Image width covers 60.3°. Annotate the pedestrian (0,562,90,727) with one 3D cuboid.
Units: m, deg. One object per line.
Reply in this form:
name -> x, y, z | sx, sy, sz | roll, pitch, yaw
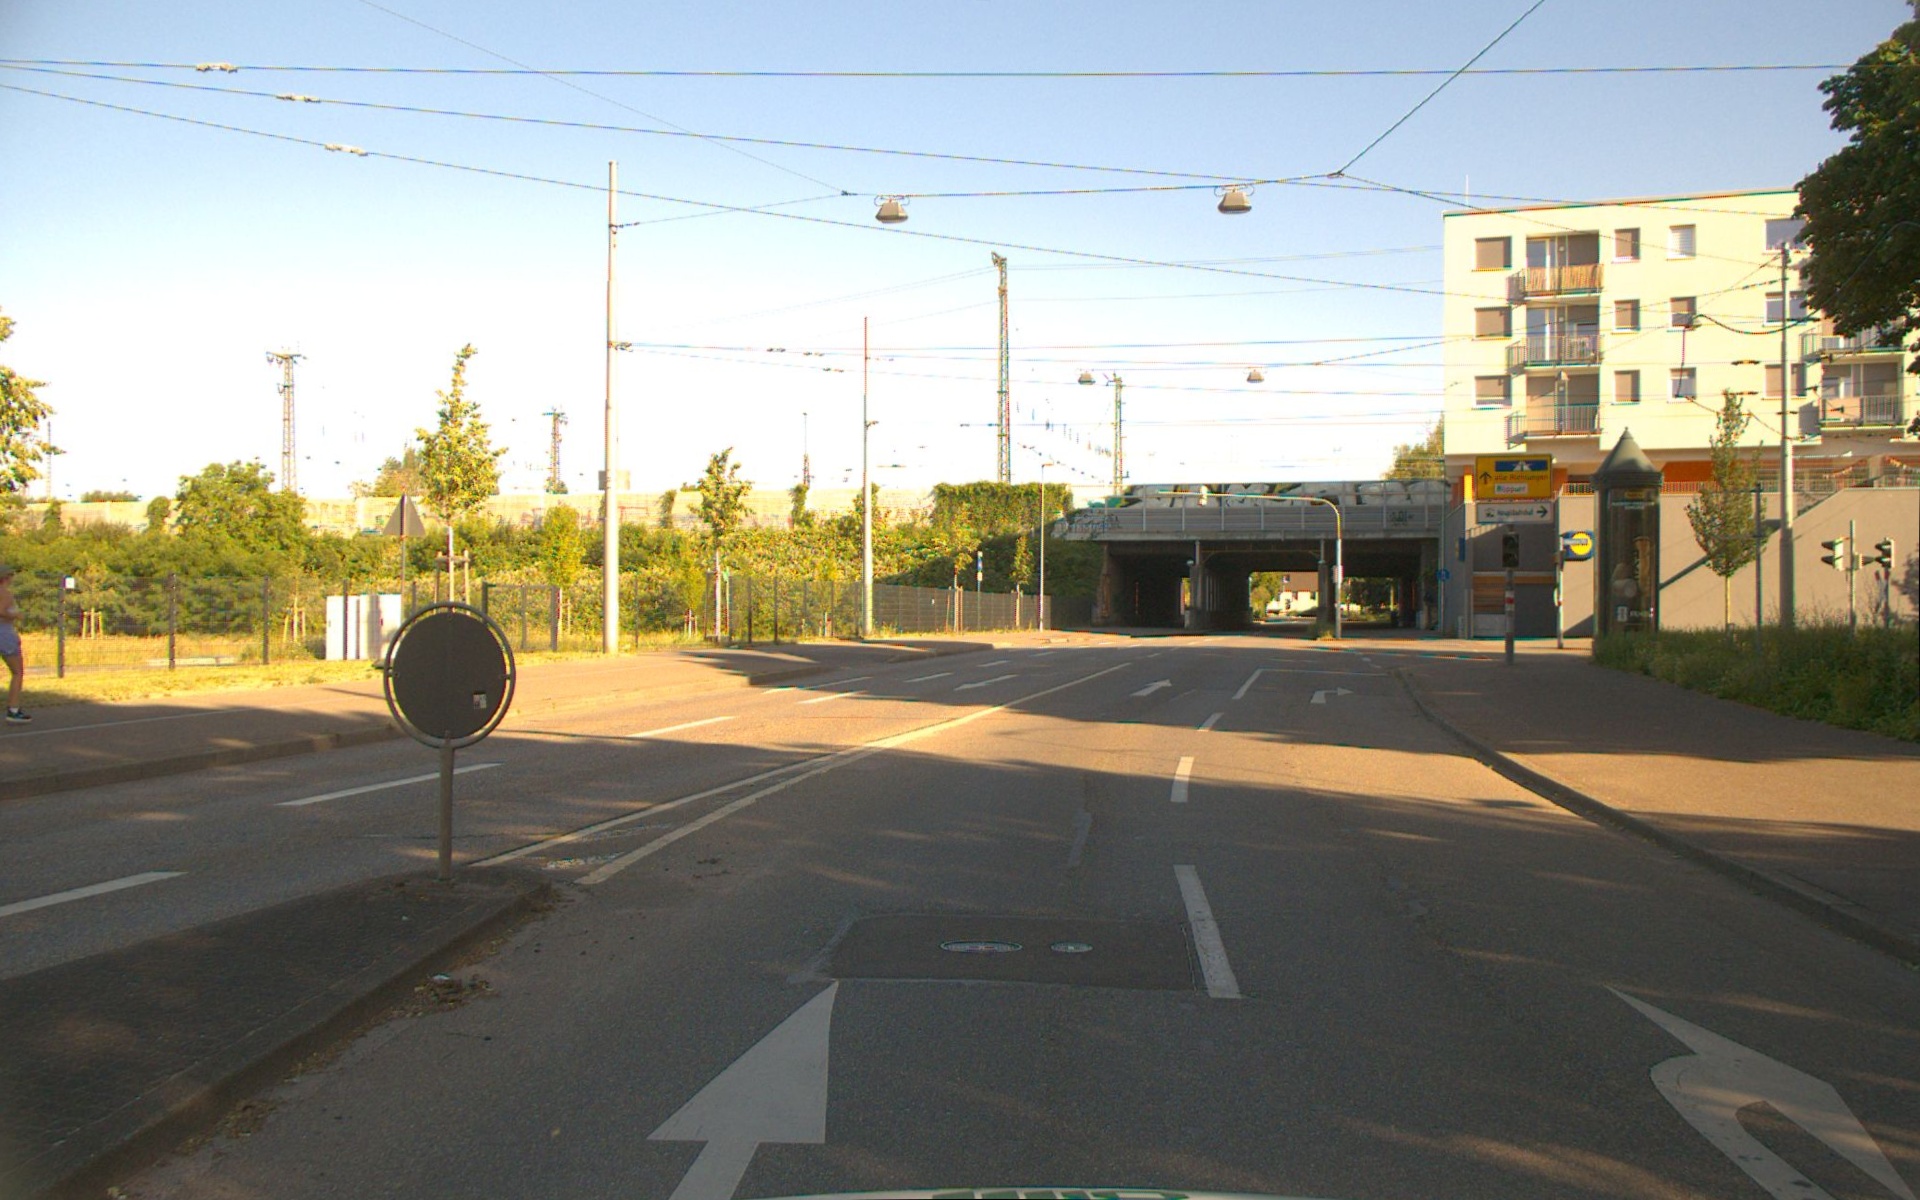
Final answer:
pedestrian -> -10.004, 0.437, 17.478 | 0.815, 1.657, 1.182 | 2, 1, 16
